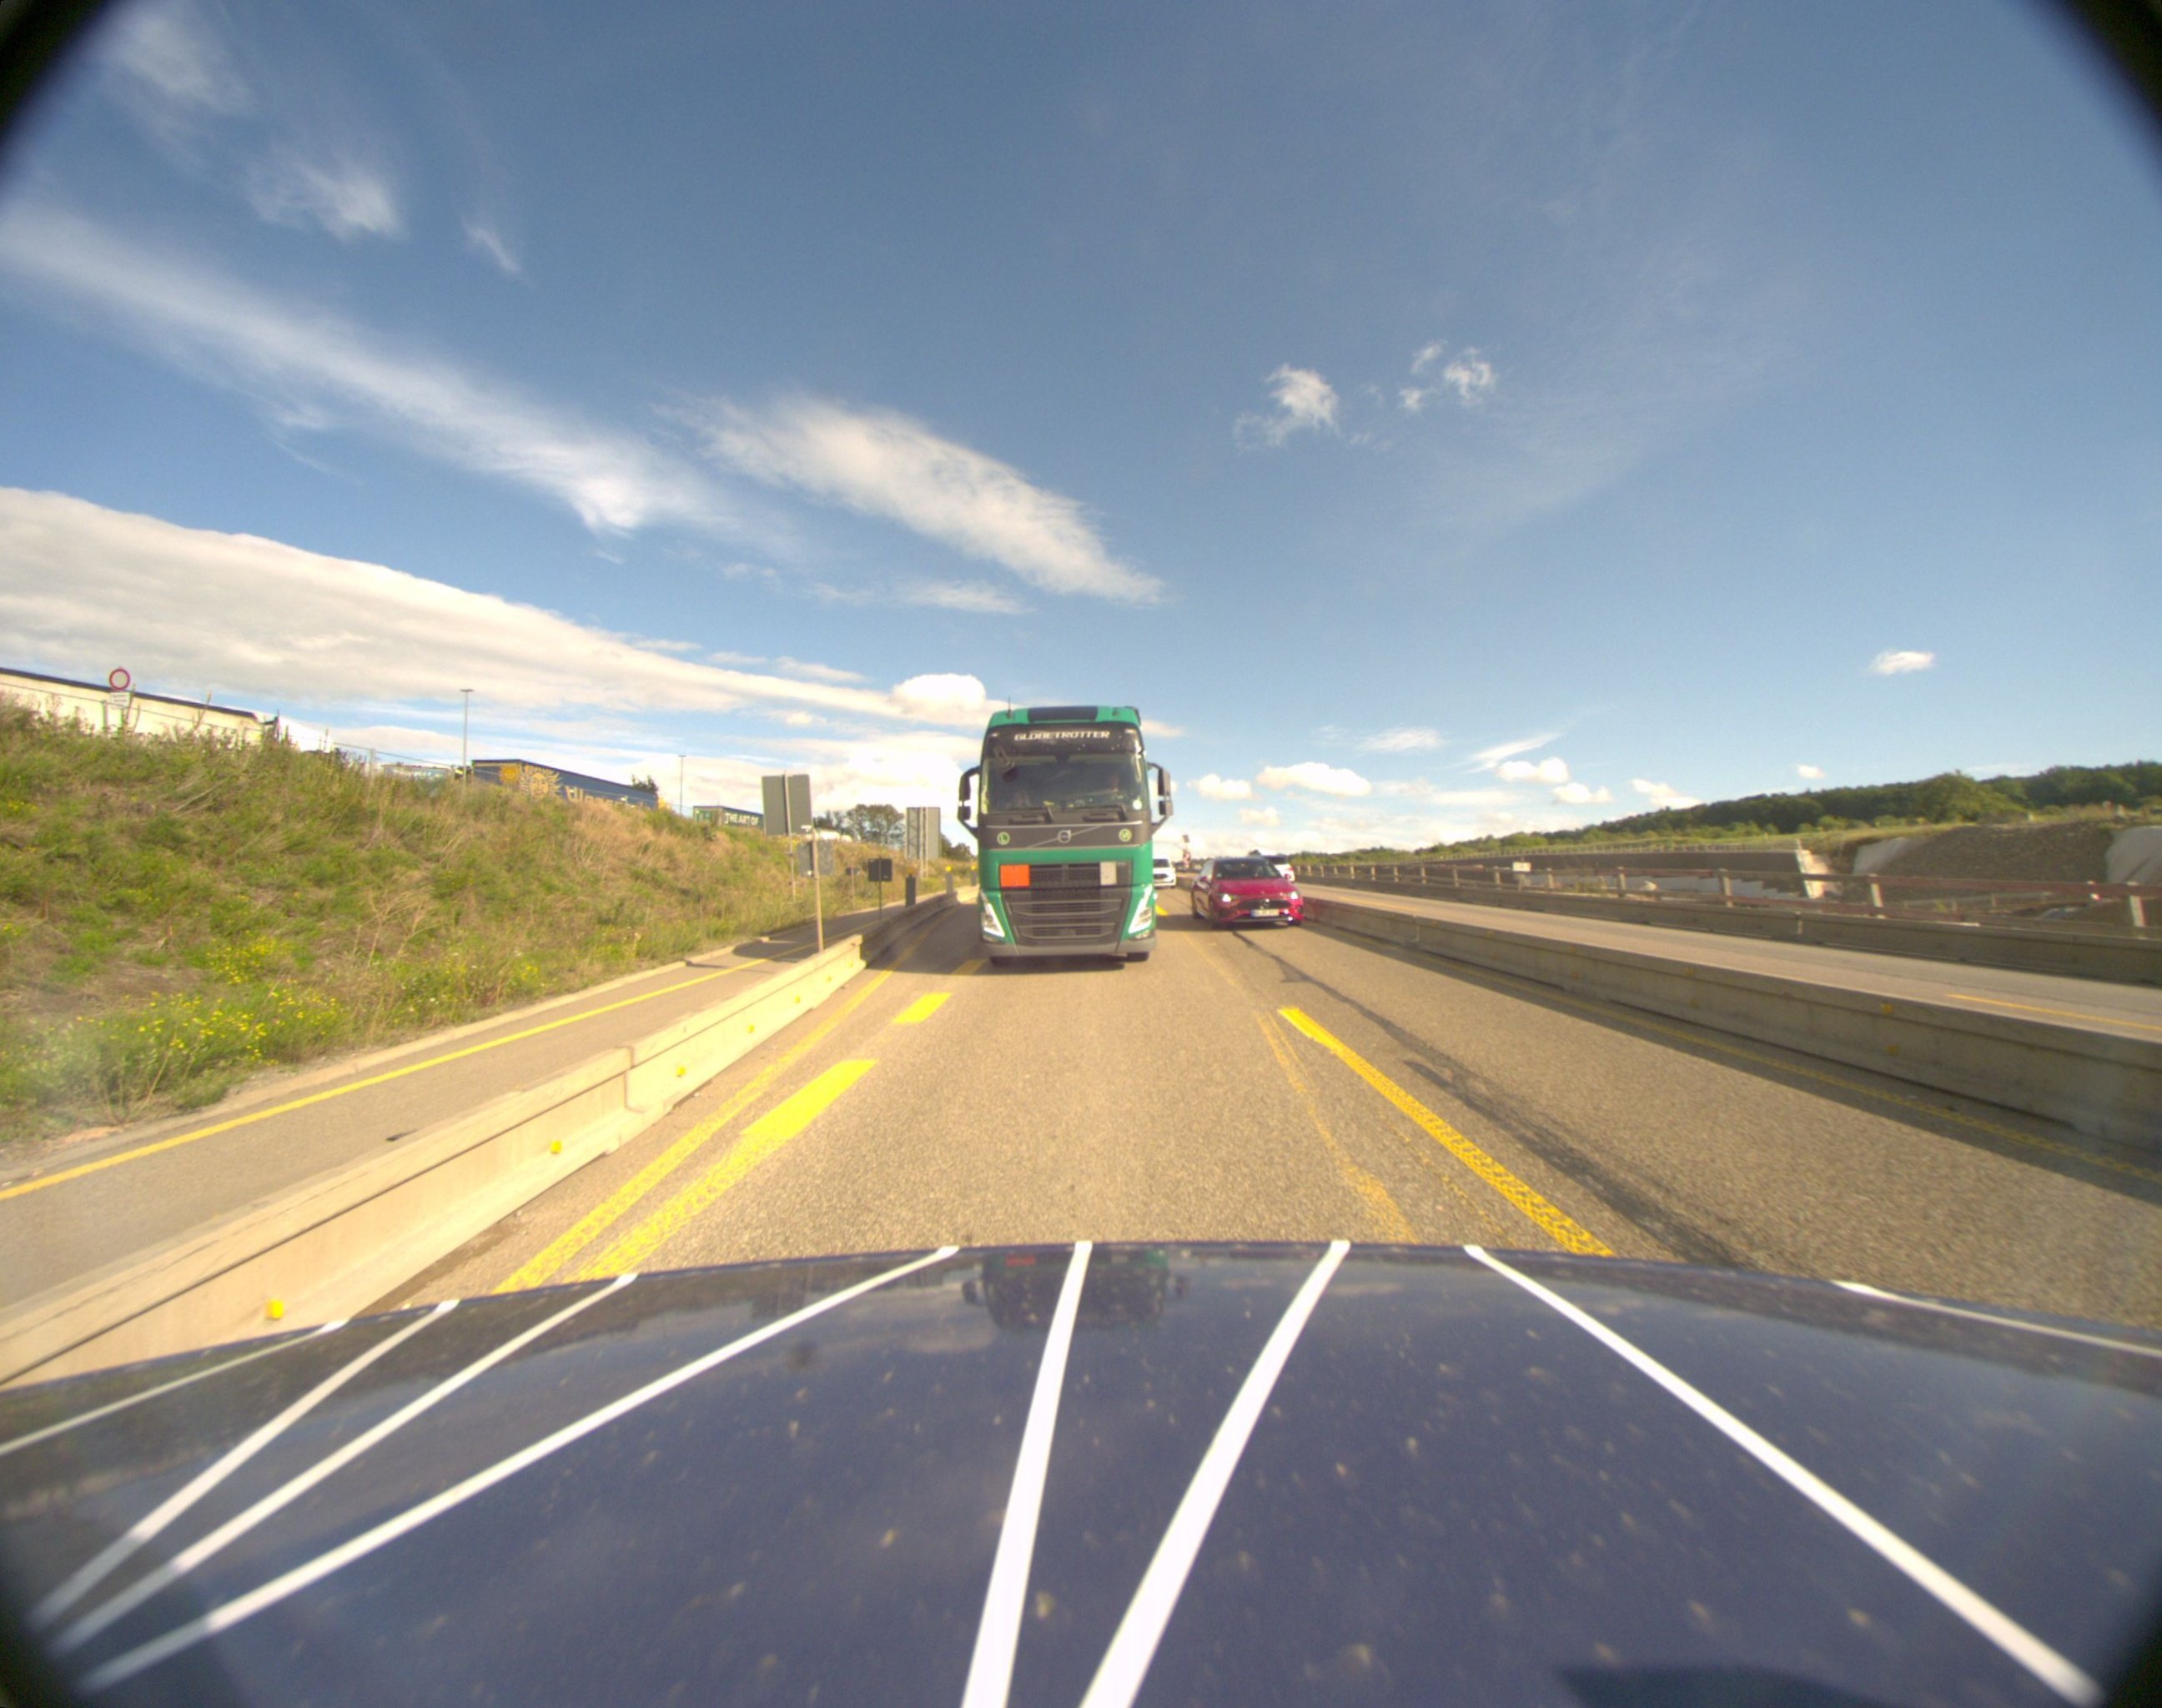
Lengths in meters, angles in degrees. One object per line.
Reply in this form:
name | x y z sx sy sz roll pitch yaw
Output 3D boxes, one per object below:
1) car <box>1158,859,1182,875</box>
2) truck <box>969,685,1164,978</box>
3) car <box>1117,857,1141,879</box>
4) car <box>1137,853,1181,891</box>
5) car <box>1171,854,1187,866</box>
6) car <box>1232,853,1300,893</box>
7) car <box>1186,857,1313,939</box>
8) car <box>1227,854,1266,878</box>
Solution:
car | 8.338 1.189 71.339 1.827 1.483 4.000 0 0 0
truck | -0.206 -0.333 14.441 2.546 3.899 8.278 -2 1 0
car | 3.657 1.033 58.063 1.719 1.499 4.000 -2 1 3
car | 3.963 0.883 39.351 1.827 1.813 4.456 -3 0 1
car | 12.736 0.798 99.361 1.827 1.483 4.001 0 0 4
car | 7.397 0.726 30.726 1.827 1.483 4.000 0 0 1
car | 3.579 0.856 17.038 1.827 1.483 4.684 -3 0 1
car | 10.795 0.737 49.899 1.827 1.483 4.325 0 0 3
